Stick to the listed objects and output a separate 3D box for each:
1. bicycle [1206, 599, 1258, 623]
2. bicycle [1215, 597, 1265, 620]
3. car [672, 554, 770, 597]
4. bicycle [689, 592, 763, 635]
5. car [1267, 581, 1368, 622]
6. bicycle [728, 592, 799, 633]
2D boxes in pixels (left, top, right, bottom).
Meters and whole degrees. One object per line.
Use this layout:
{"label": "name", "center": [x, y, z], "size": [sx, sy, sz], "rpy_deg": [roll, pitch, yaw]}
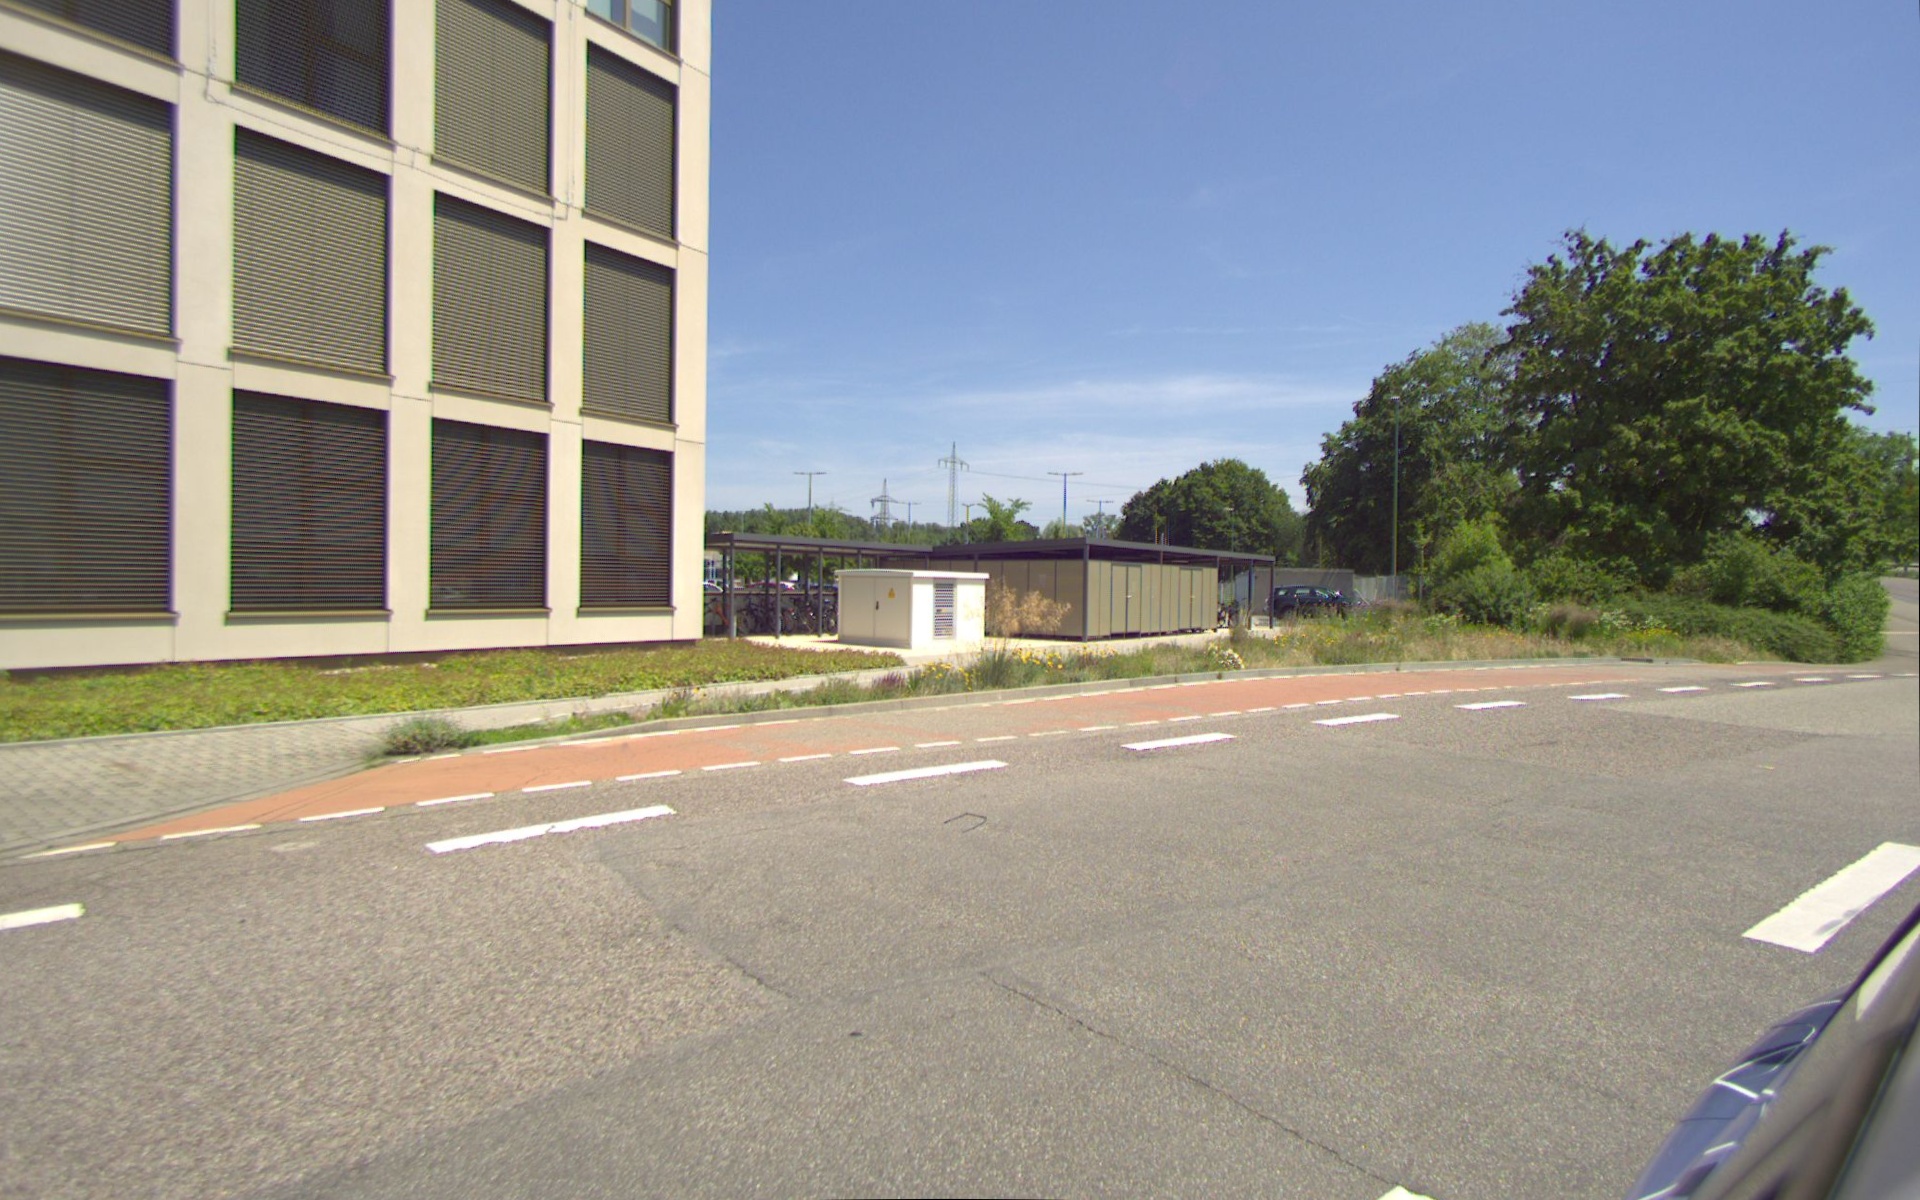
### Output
{"label": "bicycle", "center": [10.797, 0.425, 40.200], "size": [1.872, 0.874, 0.583], "rpy_deg": [2, 1, 35]}
{"label": "bicycle", "center": [11.305, 0.341, 40.862], "size": [1.853, 0.874, 0.576], "rpy_deg": [2, 1, 35]}
{"label": "car", "center": [-10.887, -1.113, 46.240], "size": [3.935, 1.893, 1.995], "rpy_deg": [0, 2, -45]}
{"label": "bicycle", "center": [-5.993, 0.322, 25.884], "size": [1.824, 1.014, 0.728], "rpy_deg": [2, 1, 30]}
{"label": "car", "center": [15.763, 0.023, 44.787], "size": [3.939, 1.682, 1.832], "rpy_deg": [1, 1, 13]}
{"label": "bicycle", "center": [-5.225, 0.315, 26.895], "size": [1.824, 1.014, 0.728], "rpy_deg": [2, 1, 30]}
